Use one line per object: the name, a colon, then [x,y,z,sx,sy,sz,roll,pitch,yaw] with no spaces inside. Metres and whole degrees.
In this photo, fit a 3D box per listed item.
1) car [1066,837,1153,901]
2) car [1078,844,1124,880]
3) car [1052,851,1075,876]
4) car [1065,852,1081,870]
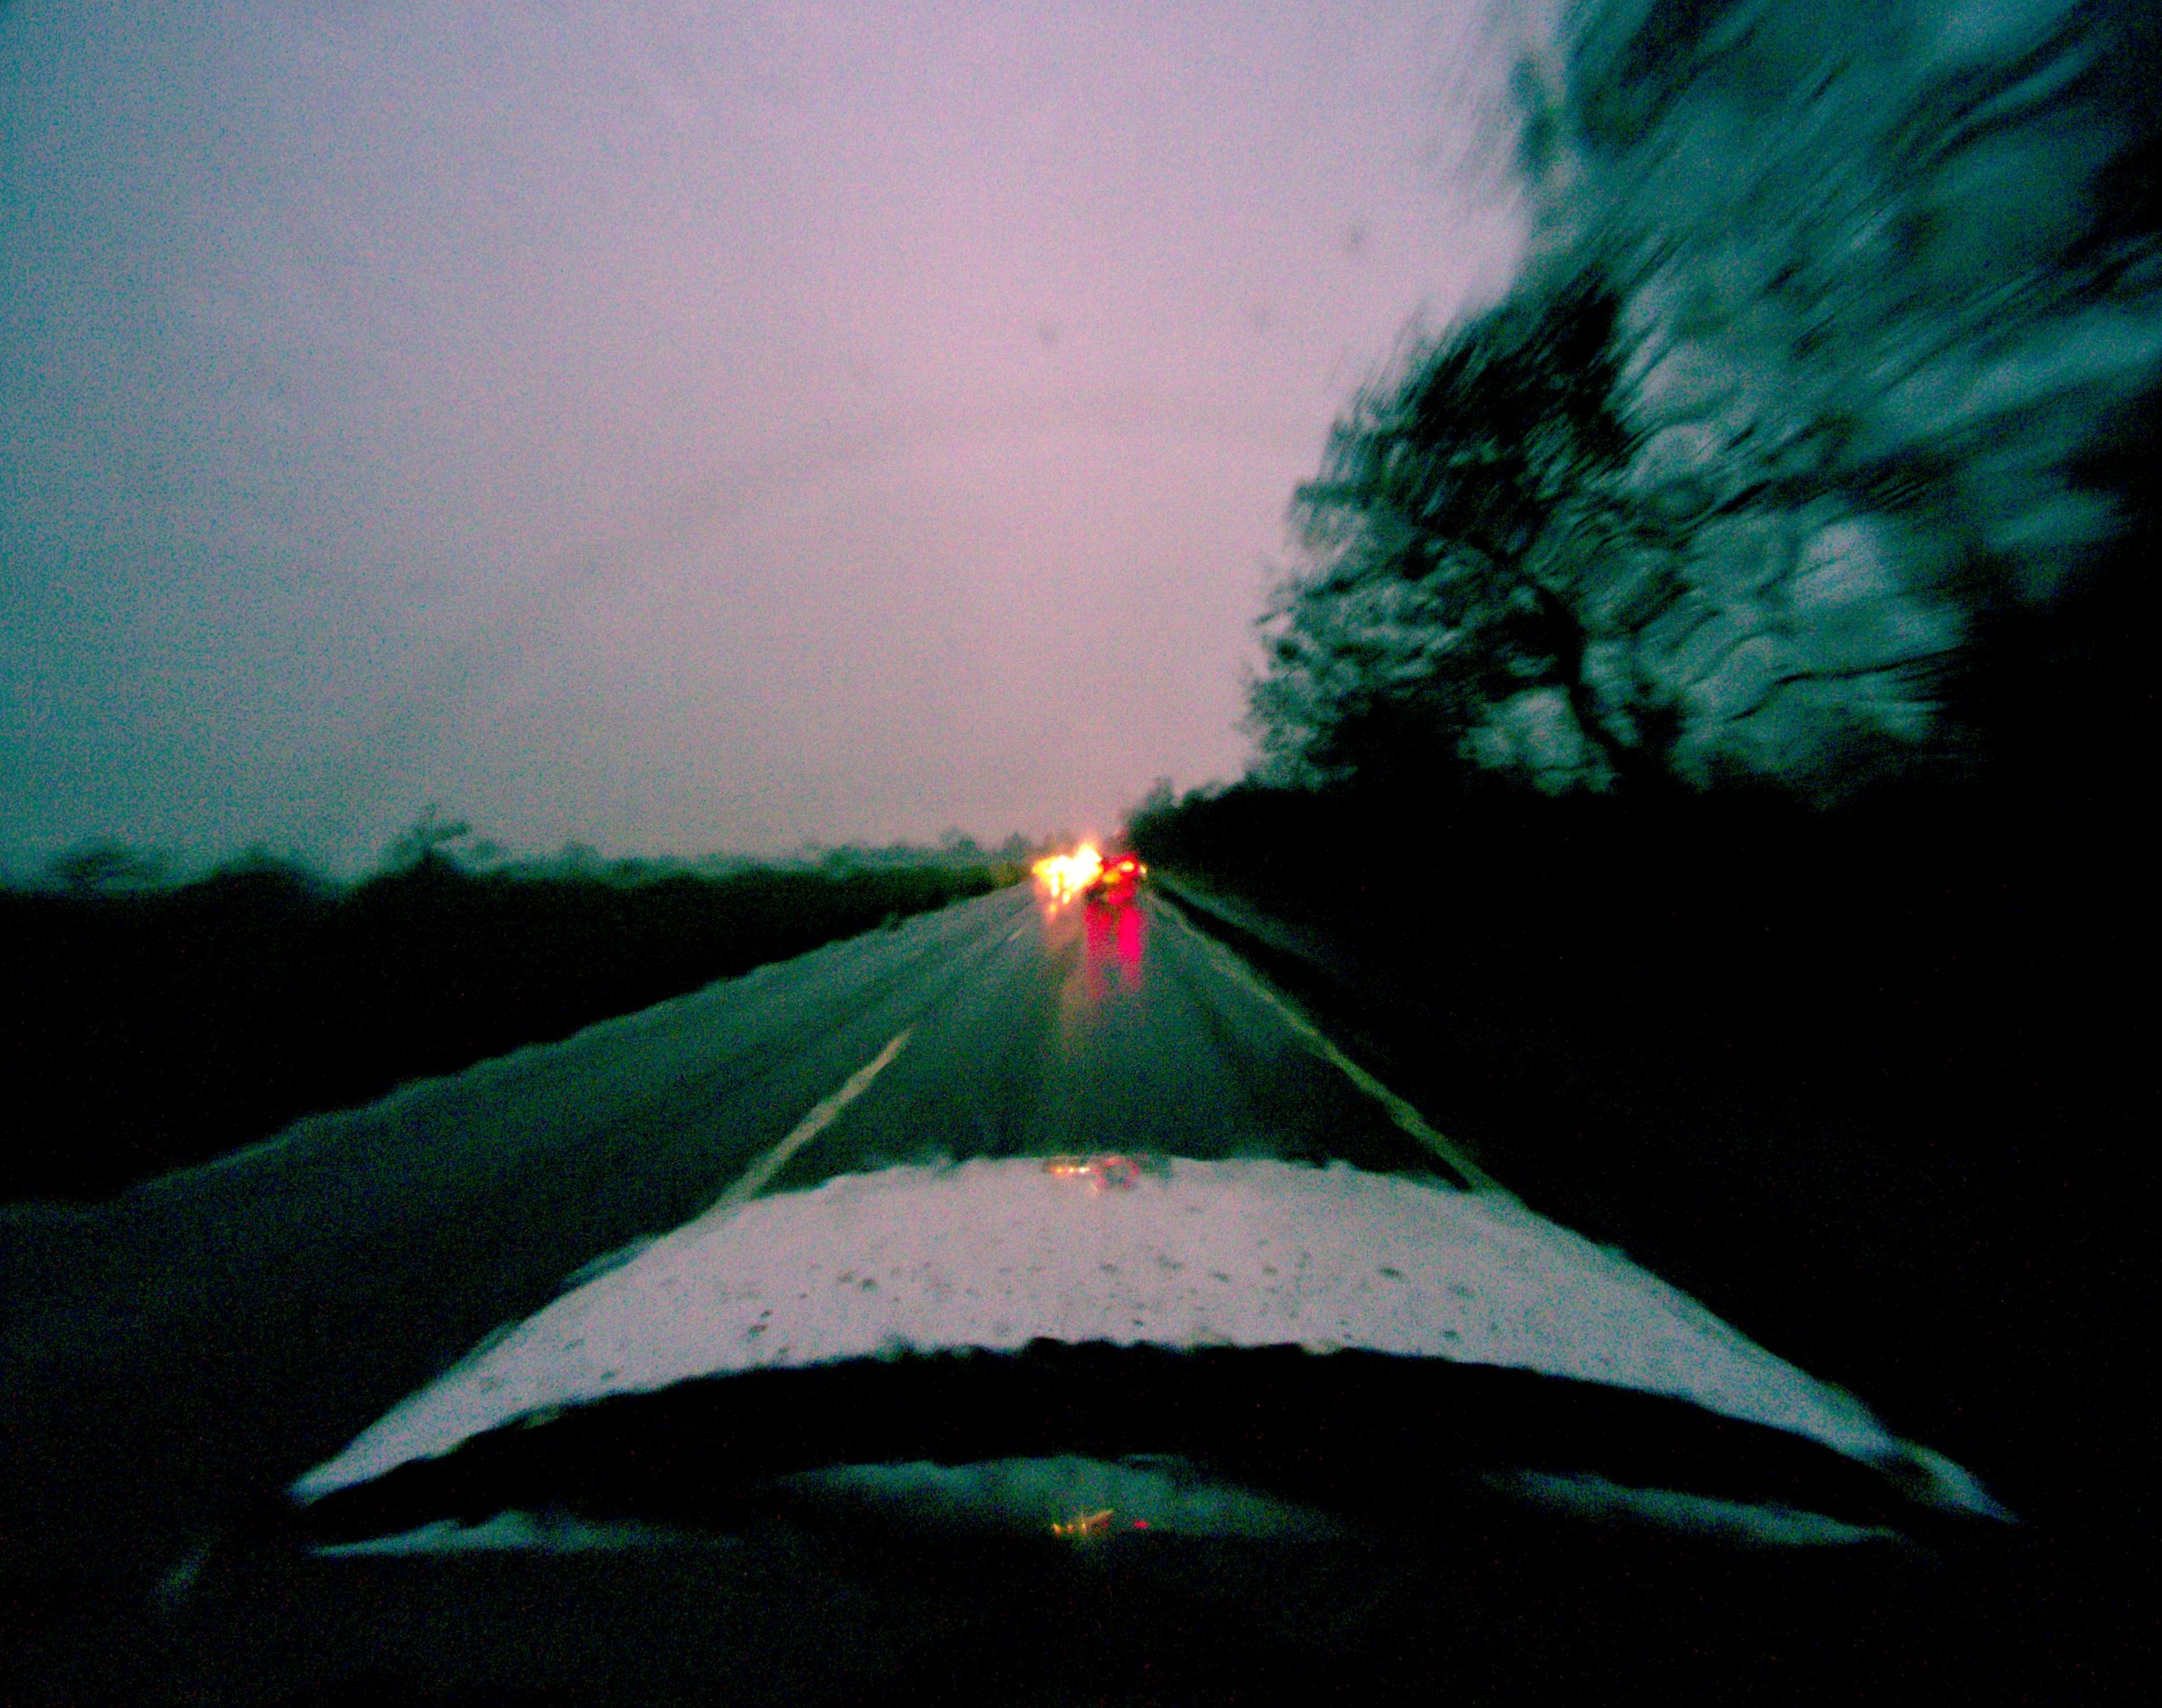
car: [1.047,0.503,29.159,2.809,2.077,5.807,0,0,2]
car: [1.257,0.461,49.194,2.582,2.014,5.807,0,0,2]
car: [-1.596,0.891,74.277,1.909,2.137,4.312,-2,0,0]
car: [-1.013,0.912,104.951,1.909,2.137,4.312,-2,0,0]
